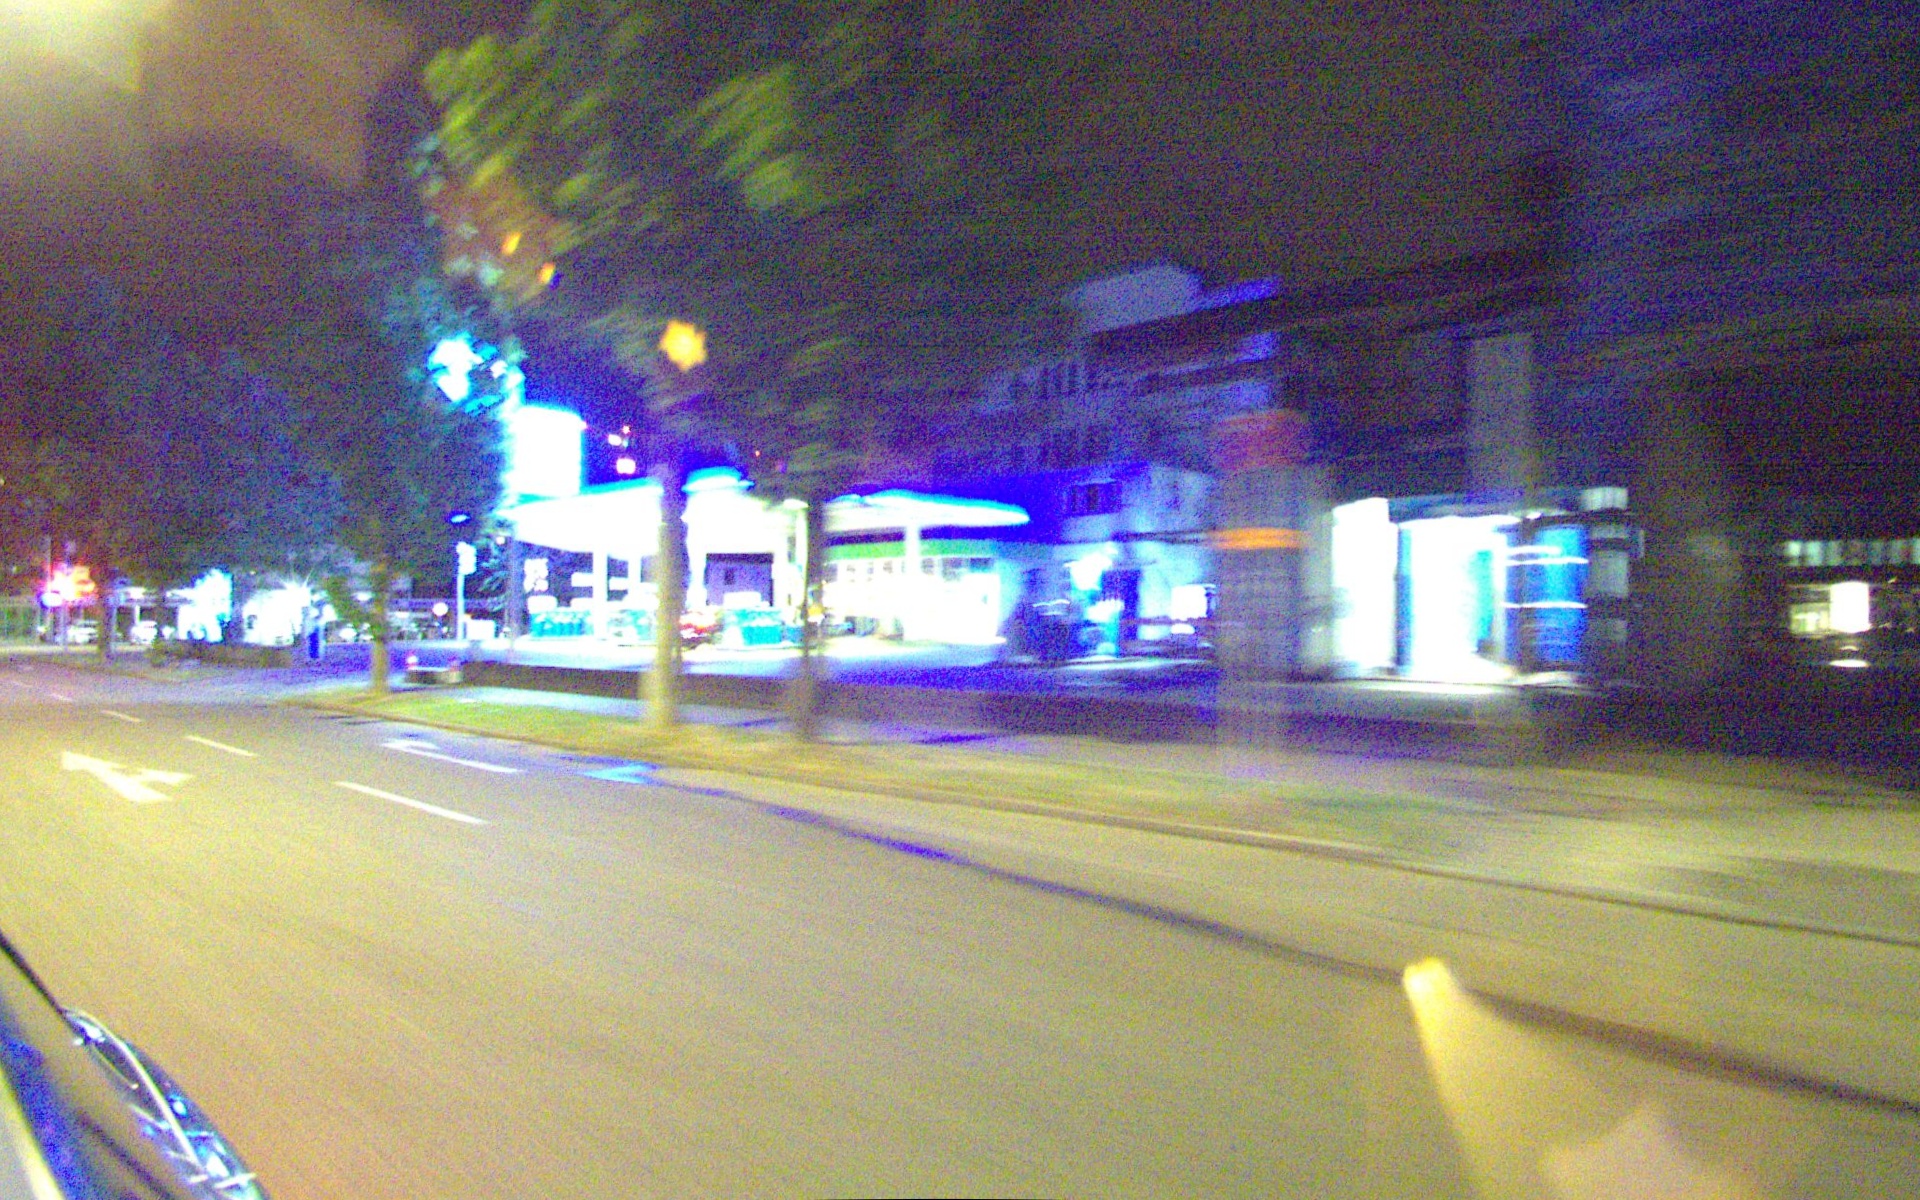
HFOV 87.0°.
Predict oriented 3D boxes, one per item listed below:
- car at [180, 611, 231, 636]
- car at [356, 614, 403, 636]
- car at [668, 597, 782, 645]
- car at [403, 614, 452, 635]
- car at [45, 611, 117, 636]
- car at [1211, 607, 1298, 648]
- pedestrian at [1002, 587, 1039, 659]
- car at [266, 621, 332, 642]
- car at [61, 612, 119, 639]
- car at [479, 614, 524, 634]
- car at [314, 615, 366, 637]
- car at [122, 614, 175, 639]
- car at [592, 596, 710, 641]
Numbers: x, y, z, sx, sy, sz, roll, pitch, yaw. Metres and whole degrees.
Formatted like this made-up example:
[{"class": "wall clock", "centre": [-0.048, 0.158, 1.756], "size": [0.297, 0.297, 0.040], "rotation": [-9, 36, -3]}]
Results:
[{"class": "car", "centre": [-49.498, 1.521, 66.393], "size": [4.067, 1.565, 1.840], "rotation": [-1, 0, 40]}, {"class": "car", "centre": [-42.223, 1.799, 73.612], "size": [4.083, 1.489, 1.710], "rotation": [-1, 0, 40]}, {"class": "car", "centre": [-8.366, 0.718, 36.260], "size": [1.669, 1.544, 3.712], "rotation": [-1, 1, 40]}, {"class": "car", "centre": [-40.091, 1.838, 76.178], "size": [4.083, 1.489, 1.840], "rotation": [-1, 0, 40]}, {"class": "car", "centre": [-60.605, 1.611, 69.818], "size": [1.633, 1.712, 3.530], "rotation": [0, -2, 40]}, {"class": "car", "centre": [9.502, 0.865, 32.528], "size": [1.573, 1.275, 3.116], "rotation": [-1, -1, 40]}, {"class": "pedestrian", "centre": [1.392, 0.511, 23.163], "size": [0.642, 1.618, 0.570], "rotation": [0, 0, 39]}, {"class": "car", "centre": [-50.726, 2.425, 77.780], "size": [1.716, 1.489, 4.257], "rotation": [0, 0, 13]}, {"class": "car", "centre": [-52.812, 1.530, 61.420], "size": [4.383, 1.569, 1.974], "rotation": [-1, 0, 40]}, {"class": "car", "centre": [-36.456, 1.888, 80.457], "size": [3.955, 1.489, 1.743], "rotation": [-1, 0, 40]}, {"class": "car", "centre": [-43.943, 1.792, 71.708], "size": [4.351, 1.489, 1.840], "rotation": [-1, 0, 40]}, {"class": "car", "centre": [-50.963, 1.638, 63.540], "size": [4.067, 1.472, 1.840], "rotation": [-1, -1, 40]}, {"class": "car", "centre": [-12.708, 0.762, 41.817], "size": [1.977, 1.740, 4.301], "rotation": [-1, -1, 40]}]
